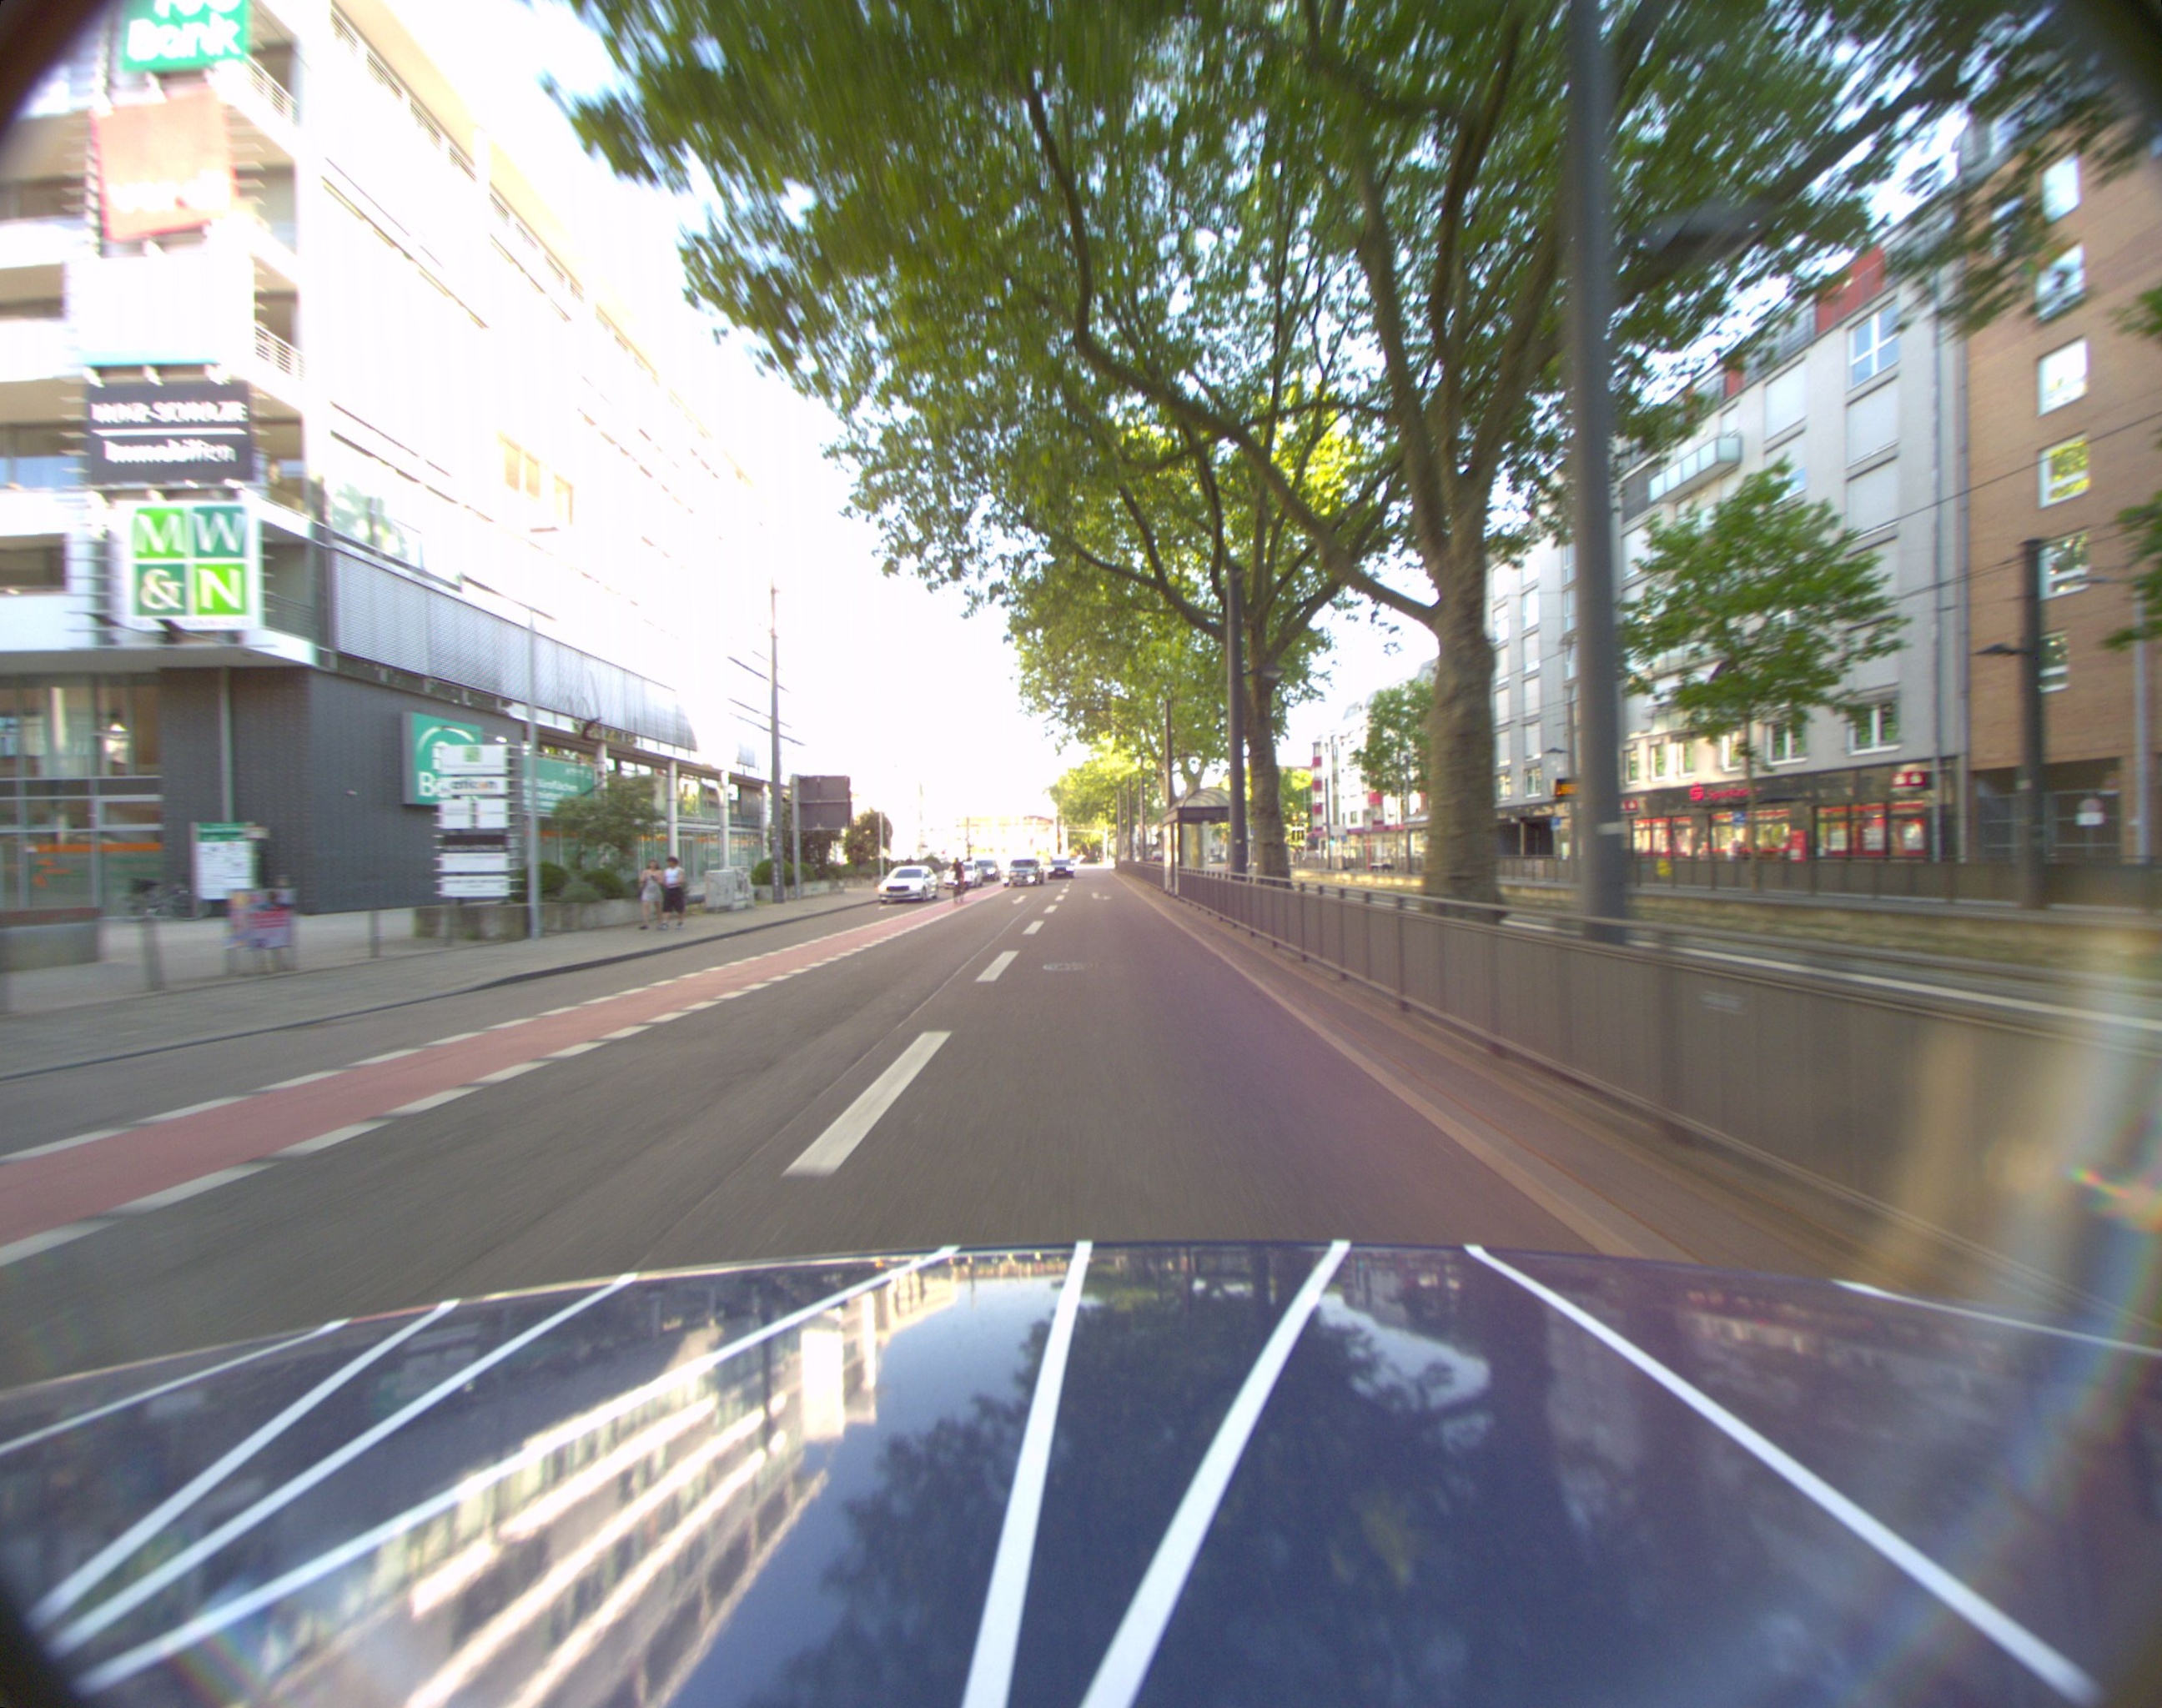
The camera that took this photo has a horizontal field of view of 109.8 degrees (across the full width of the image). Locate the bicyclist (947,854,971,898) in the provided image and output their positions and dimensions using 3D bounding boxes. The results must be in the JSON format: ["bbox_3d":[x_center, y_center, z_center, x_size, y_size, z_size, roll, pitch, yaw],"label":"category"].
[{"bbox_3d":[-4.726,0.835,29.445,0.752,1.678,0.714,-1,1,1],"label":"bicyclist"}]

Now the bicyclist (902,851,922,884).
[{"bbox_3d":[-9.131,0.704,41.161,0.743,1.752,1.209,2,1,1],"label":"bicyclist"}]

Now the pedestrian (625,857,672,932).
[{"bbox_3d":[-10.612,0.971,18.671,0.591,1.798,0.896,0,1,1],"label":"pedestrian"}]

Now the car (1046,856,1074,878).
[{"bbox_3d":[-1.473,0.909,54.088,1.827,1.416,4.345,-3,0,-1],"label":"car"}]

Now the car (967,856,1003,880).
[{"bbox_3d":[-6.727,0.977,53.652,1.998,1.586,4.000,-1,0,0],"label":"car"}]

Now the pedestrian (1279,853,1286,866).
[{"bbox_3d":[28.638,0.788,107.927,0.602,1.694,0.670,-2,2,39],"label":"pedestrian"}]

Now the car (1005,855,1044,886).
[{"bbox_3d":[-3.161,0.883,43.317,1.785,1.628,4.022,-1,0,1],"label":"car"}]

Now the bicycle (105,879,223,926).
[{"bbox_3d":[-21.531,1.129,17.859,1.879,1.057,0.700,0,1,-1],"label":"bicycle"}]

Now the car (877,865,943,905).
[{"bbox_3d":[-6.952,1.229,31.304,1.786,1.411,4.021,-1,0,0],"label":"car"}]

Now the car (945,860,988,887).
[{"bbox_3d":[-6.548,1.079,43.710,1.671,1.455,3.870,-1,0,4],"label":"car"}]

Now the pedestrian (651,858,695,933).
[{"bbox_3d":[-9.986,0.996,18.616,0.564,1.798,0.891,0,1,1],"label":"pedestrian"}]

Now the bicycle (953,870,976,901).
[{"bbox_3d":[-4.513,1.188,29.546,0.551,1.114,2.126,-1,0,-1],"label":"bicycle"}]

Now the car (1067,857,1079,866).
[{"bbox_3d":[-1.362,1.229,124.375,1.827,1.416,4.345,-3,0,-1],"label":"car"}]

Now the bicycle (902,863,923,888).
[{"bbox_3d":[-9.130,1.161,41.206,0.665,1.268,1.928,2,0,1],"label":"bicycle"}]

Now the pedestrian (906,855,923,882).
[{"bbox_3d":[-9.799,0.824,44.720,0.753,1.565,0.912,-1,1,3],"label":"pedestrian"}]

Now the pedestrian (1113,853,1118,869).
[{"bbox_3d":[3.370,0.665,74.581,0.389,1.558,0.336,-1,1,6],"label":"pedestrian"}]

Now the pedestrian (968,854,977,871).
[{"bbox_3d":[-10.445,0.797,72.986,0.693,1.573,0.664,1,1,1],"label":"pedestrian"}]

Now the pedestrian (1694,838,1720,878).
[{"bbox_3d":[28.133,0.156,34.146,0.503,1.760,0.784,-3,1,0],"label":"pedestrian"}]

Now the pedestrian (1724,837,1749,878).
[{"bbox_3d":[28.483,0.157,33.028,0.503,1.760,0.629,-3,1,0],"label":"pedestrian"}]

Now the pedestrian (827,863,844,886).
[{"bbox_3d":[-13.649,1.141,42.285,0.752,1.264,0.693,-1,1,-4],"label":"pedestrian"}]

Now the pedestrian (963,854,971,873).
[{"bbox_3d":[-9.571,0.811,63.726,0.527,1.573,0.589,1,1,1],"label":"pedestrian"}]

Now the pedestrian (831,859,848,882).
[{"bbox_3d":[-13.679,0.953,42.981,0.785,1.264,0.543,-1,1,-4],"label":"pedestrian"}]
